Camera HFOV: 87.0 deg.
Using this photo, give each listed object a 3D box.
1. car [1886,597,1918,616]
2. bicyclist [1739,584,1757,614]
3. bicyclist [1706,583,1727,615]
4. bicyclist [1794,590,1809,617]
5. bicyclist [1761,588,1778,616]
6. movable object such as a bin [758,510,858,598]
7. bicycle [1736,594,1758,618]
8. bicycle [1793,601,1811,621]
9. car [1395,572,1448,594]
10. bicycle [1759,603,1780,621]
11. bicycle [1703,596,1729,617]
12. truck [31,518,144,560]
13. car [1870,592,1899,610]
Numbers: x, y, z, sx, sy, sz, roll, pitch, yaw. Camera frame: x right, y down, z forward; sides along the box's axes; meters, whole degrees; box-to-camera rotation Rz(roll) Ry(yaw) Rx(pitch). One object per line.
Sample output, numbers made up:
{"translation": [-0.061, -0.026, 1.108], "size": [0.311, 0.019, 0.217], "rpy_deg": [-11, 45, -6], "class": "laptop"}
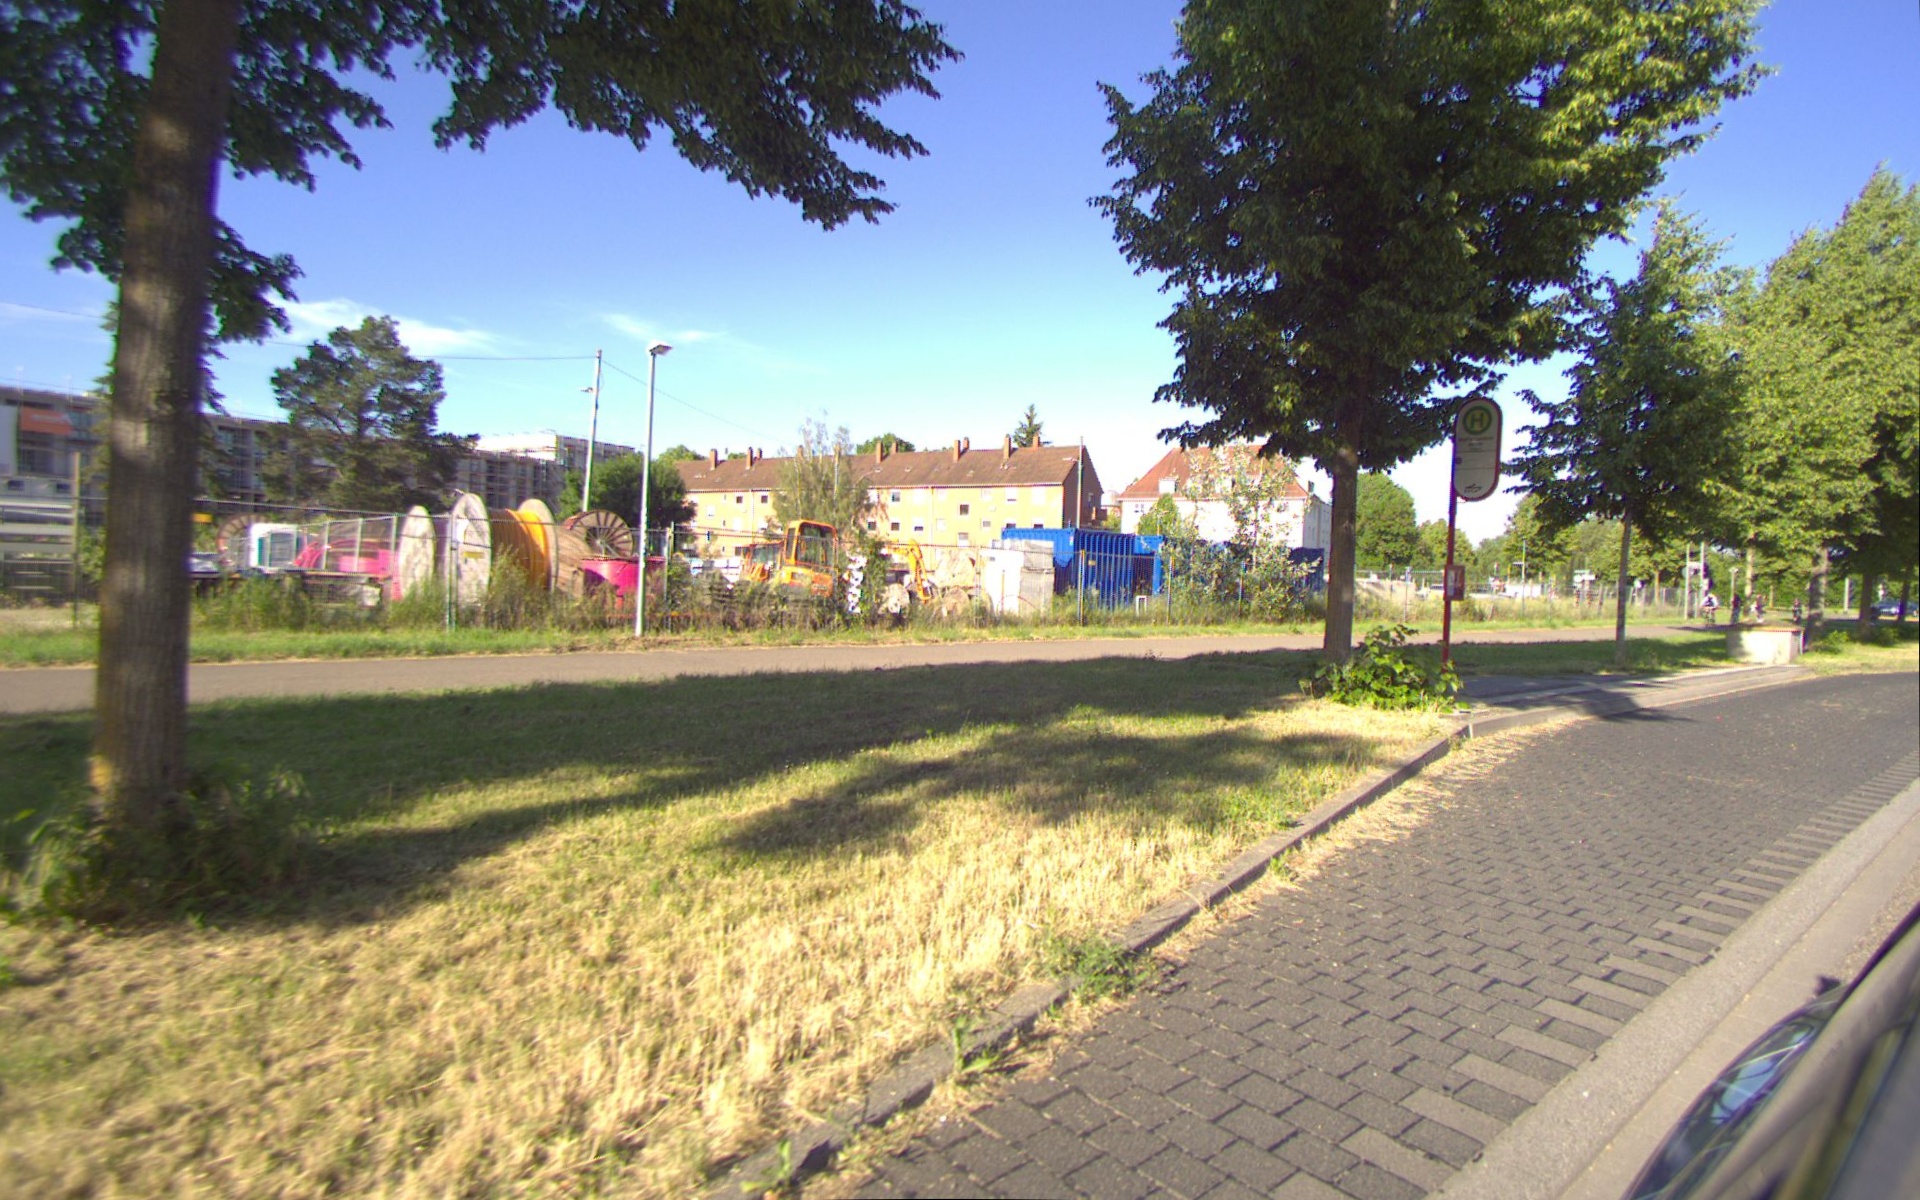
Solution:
{"translation": [84.613, 0.610, 90.896], "size": [3.611, 1.583, 1.700], "rpy_deg": [1, 2, -41], "class": "car"}
{"translation": [39.864, -0.037, 51.217], "size": [0.819, 1.491, 0.504], "rpy_deg": [0, 2, -39], "class": "bicyclist"}
{"translation": [38.811, -0.063, 51.930], "size": [0.780, 1.572, 0.654], "rpy_deg": [0, 2, -40], "class": "bicyclist"}
{"translation": [49.123, 0.207, 59.058], "size": [0.899, 1.504, 0.471], "rpy_deg": [-1, 2, -40], "class": "bicyclist"}
{"translation": [47.786, 0.134, 59.722], "size": [0.948, 1.606, 0.592], "rpy_deg": [-1, 2, -39], "class": "bicyclist"}
{"translation": [-3.705, -1.120, 24.668], "size": [1.757, 2.038, 1.799], "rpy_deg": [-1, 2, -39], "class": "movable object such as a bin"}
{"translation": [39.879, 0.319, 51.252], "size": [1.576, 1.166, 0.507], "rpy_deg": [1, 2, -40], "class": "bicycle"}
{"translation": [49.145, 0.615, 59.086], "size": [1.615, 1.095, 0.479], "rpy_deg": [-1, 2, -39], "class": "bicycle"}
{"translation": [47.058, -1.738, 103.291], "size": [4.384, 2.038, 2.002], "rpy_deg": [1, 2, -4], "class": "car"}
{"translation": [47.799, 0.704, 59.752], "size": [1.867, 0.972, 0.592], "rpy_deg": [-2, 3, -41], "class": "bicycle"}
{"translation": [38.786, 0.347, 51.939], "size": [1.788, 1.024, 0.657], "rpy_deg": [0, 2, -41], "class": "bicycle"}
{"translation": [-47.764, -3.320, 55.470], "size": [1.990, 2.038, 4.371], "rpy_deg": [3, 2, 38], "class": "truck"}
{"translation": [88.152, 0.076, 96.513], "size": [3.191, 1.660, 1.683], "rpy_deg": [1, 2, -41], "class": "car"}
